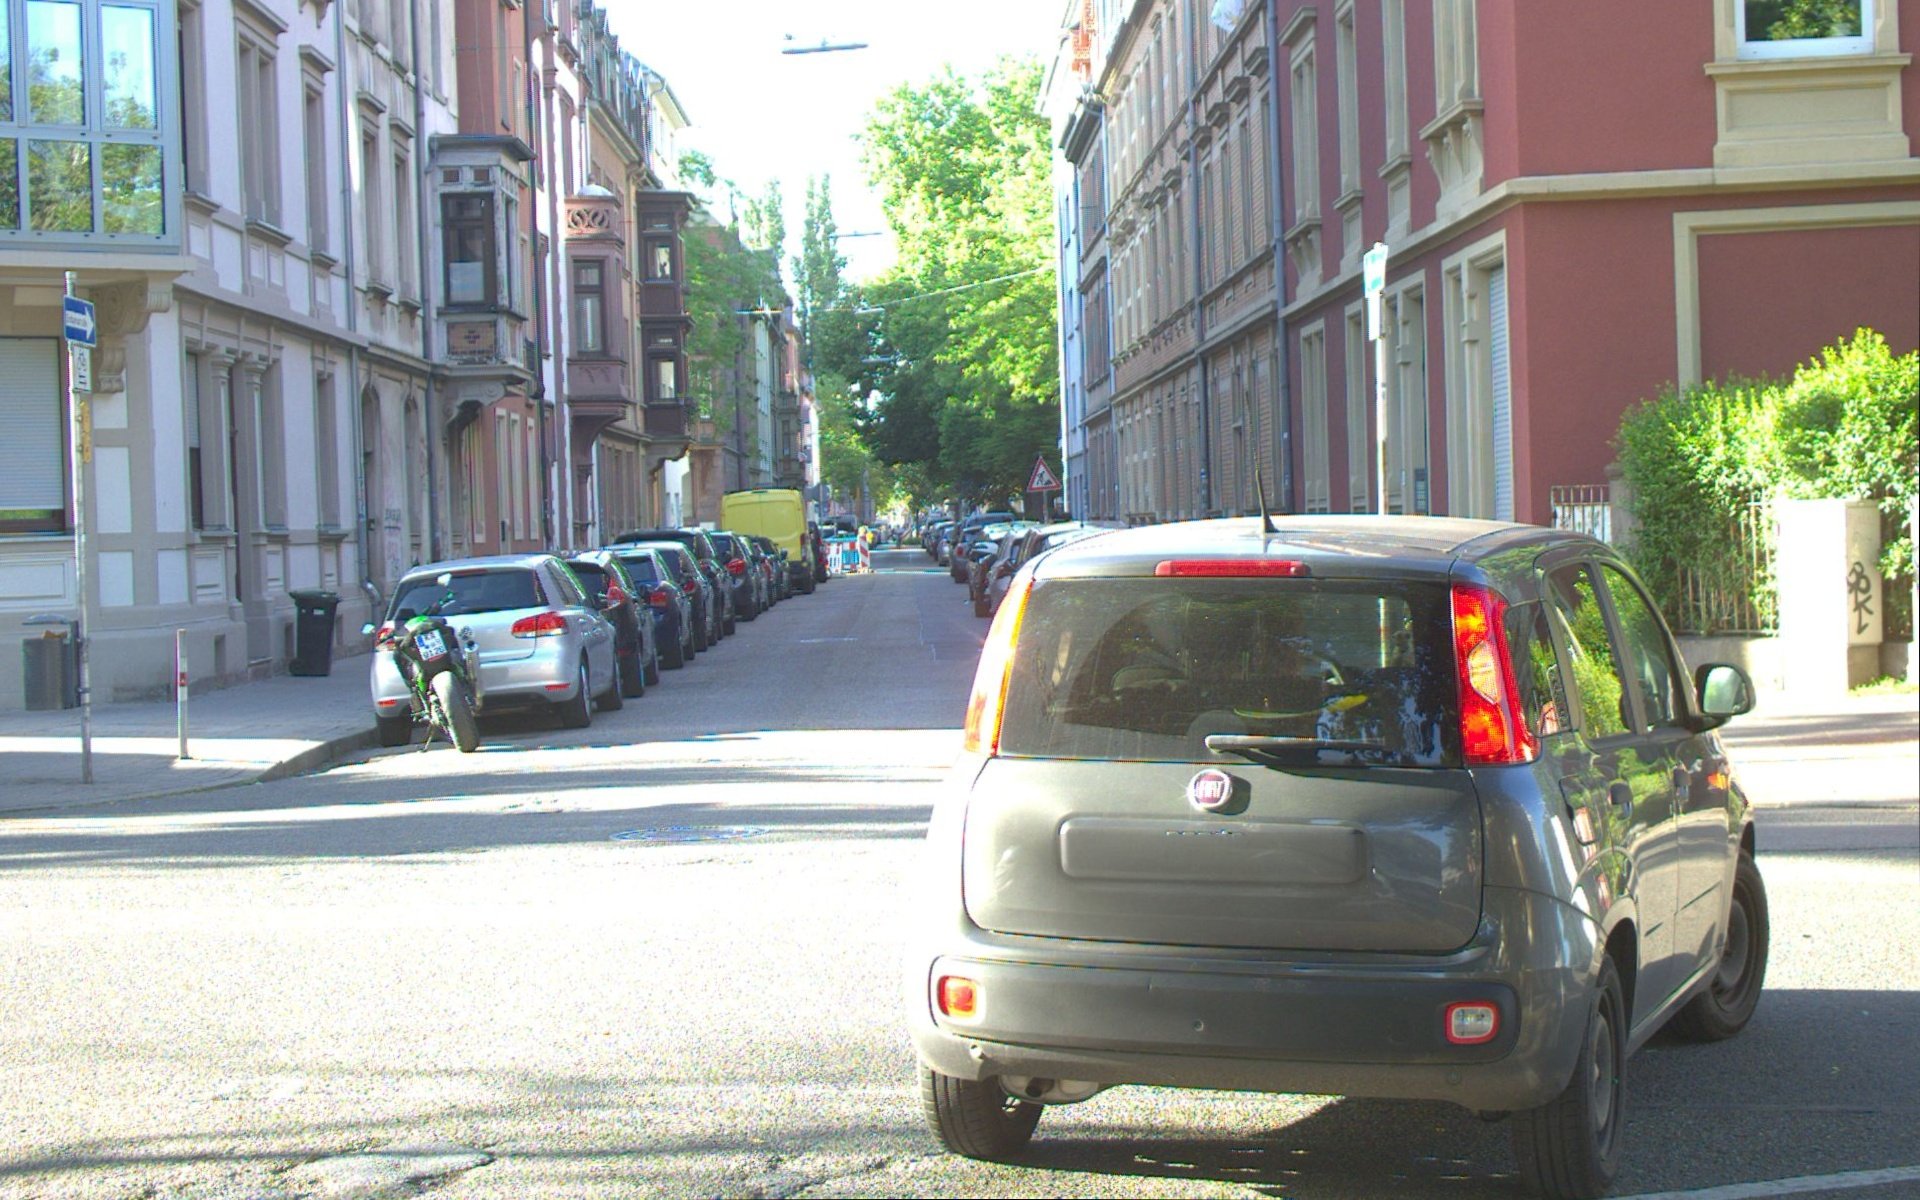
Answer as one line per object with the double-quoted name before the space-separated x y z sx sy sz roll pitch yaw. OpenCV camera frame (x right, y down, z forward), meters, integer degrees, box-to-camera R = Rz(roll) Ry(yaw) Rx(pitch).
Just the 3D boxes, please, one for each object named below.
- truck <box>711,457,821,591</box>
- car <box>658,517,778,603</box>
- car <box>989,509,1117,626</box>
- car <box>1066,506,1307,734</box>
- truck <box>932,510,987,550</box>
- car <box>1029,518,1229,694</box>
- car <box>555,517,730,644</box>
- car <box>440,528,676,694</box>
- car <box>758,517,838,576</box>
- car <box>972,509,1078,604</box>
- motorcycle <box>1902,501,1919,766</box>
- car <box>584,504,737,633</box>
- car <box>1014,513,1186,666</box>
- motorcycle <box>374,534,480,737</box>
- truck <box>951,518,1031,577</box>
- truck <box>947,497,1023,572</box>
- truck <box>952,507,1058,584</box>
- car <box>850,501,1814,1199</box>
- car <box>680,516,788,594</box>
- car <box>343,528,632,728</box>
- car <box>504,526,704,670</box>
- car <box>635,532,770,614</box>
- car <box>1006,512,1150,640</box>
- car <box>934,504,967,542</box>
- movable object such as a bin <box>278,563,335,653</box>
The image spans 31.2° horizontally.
"truck" -4.594 -1.815 82.018 2.070 2.916 5.068 -5 1 0
"car" -4.752 -0.811 67.925 1.962 1.474 3.925 -5 2 0
"car" 1.236 -0.477 47.068 1.663 1.527 3.757 0 2 0
"car" 1.711 0.095 26.989 1.663 1.663 3.757 0 2 0
"truck" -0.045 -2.654 129.931 1.993 1.451 4.000 -1 2 -1
"car" 1.491 0.005 31.482 1.663 1.500 3.757 0 2 0
"car" -4.185 -0.296 45.830 1.828 1.474 3.925 -5 2 0
"car" -3.968 0.067 34.515 1.777 1.408 3.925 -5 2 0
"car" -4.565 -1.527 97.295 1.962 1.474 3.925 -5 2 0
"car" 1.042 -0.734 56.151 1.663 1.500 3.757 0 2 0
"motorcycle" 5.680 0.198 18.476 1.020 1.399 2.191 -1 3 12
"car" -4.392 -0.505 50.984 1.775 1.693 3.925 -5 1 0
"car" 1.422 -0.152 36.079 1.663 1.500 3.757 0 2 0
"motorcycle" -4.063 0.244 26.132 0.696 1.455 1.751 -3 1 -10
"truck" 0.798 -1.389 90.374 1.993 1.451 4.000 -1 2 -1
"truck" 0.679 -1.841 95.746 1.993 1.985 4.000 -1 2 -1
"truck" 0.879 -1.125 69.425 1.993 1.451 4.000 -1 2 -1
"car" 1.126 0.541 8.877 1.634 1.544 3.261 1 2 22
"car" -4.900 -1.005 74.933 1.962 1.474 3.925 -5 2 0
"car" -3.963 0.183 29.429 1.797 1.427 3.925 -5 2 0
"car" -4.159 -0.067 40.731 1.825 1.462 3.925 -5 2 0
"car" -4.473 -0.496 60.277 1.962 1.220 3.925 -5 2 0
"car" 1.417 -0.336 42.480 1.663 1.500 3.757 0 2 0
"car" -0.413 -3.408 150.928 1.367 1.612 3.414 -1 2 0
"movable object such as a bin" -7.089 0.089 37.307 0.511 0.949 0.501 -1 1 -3
